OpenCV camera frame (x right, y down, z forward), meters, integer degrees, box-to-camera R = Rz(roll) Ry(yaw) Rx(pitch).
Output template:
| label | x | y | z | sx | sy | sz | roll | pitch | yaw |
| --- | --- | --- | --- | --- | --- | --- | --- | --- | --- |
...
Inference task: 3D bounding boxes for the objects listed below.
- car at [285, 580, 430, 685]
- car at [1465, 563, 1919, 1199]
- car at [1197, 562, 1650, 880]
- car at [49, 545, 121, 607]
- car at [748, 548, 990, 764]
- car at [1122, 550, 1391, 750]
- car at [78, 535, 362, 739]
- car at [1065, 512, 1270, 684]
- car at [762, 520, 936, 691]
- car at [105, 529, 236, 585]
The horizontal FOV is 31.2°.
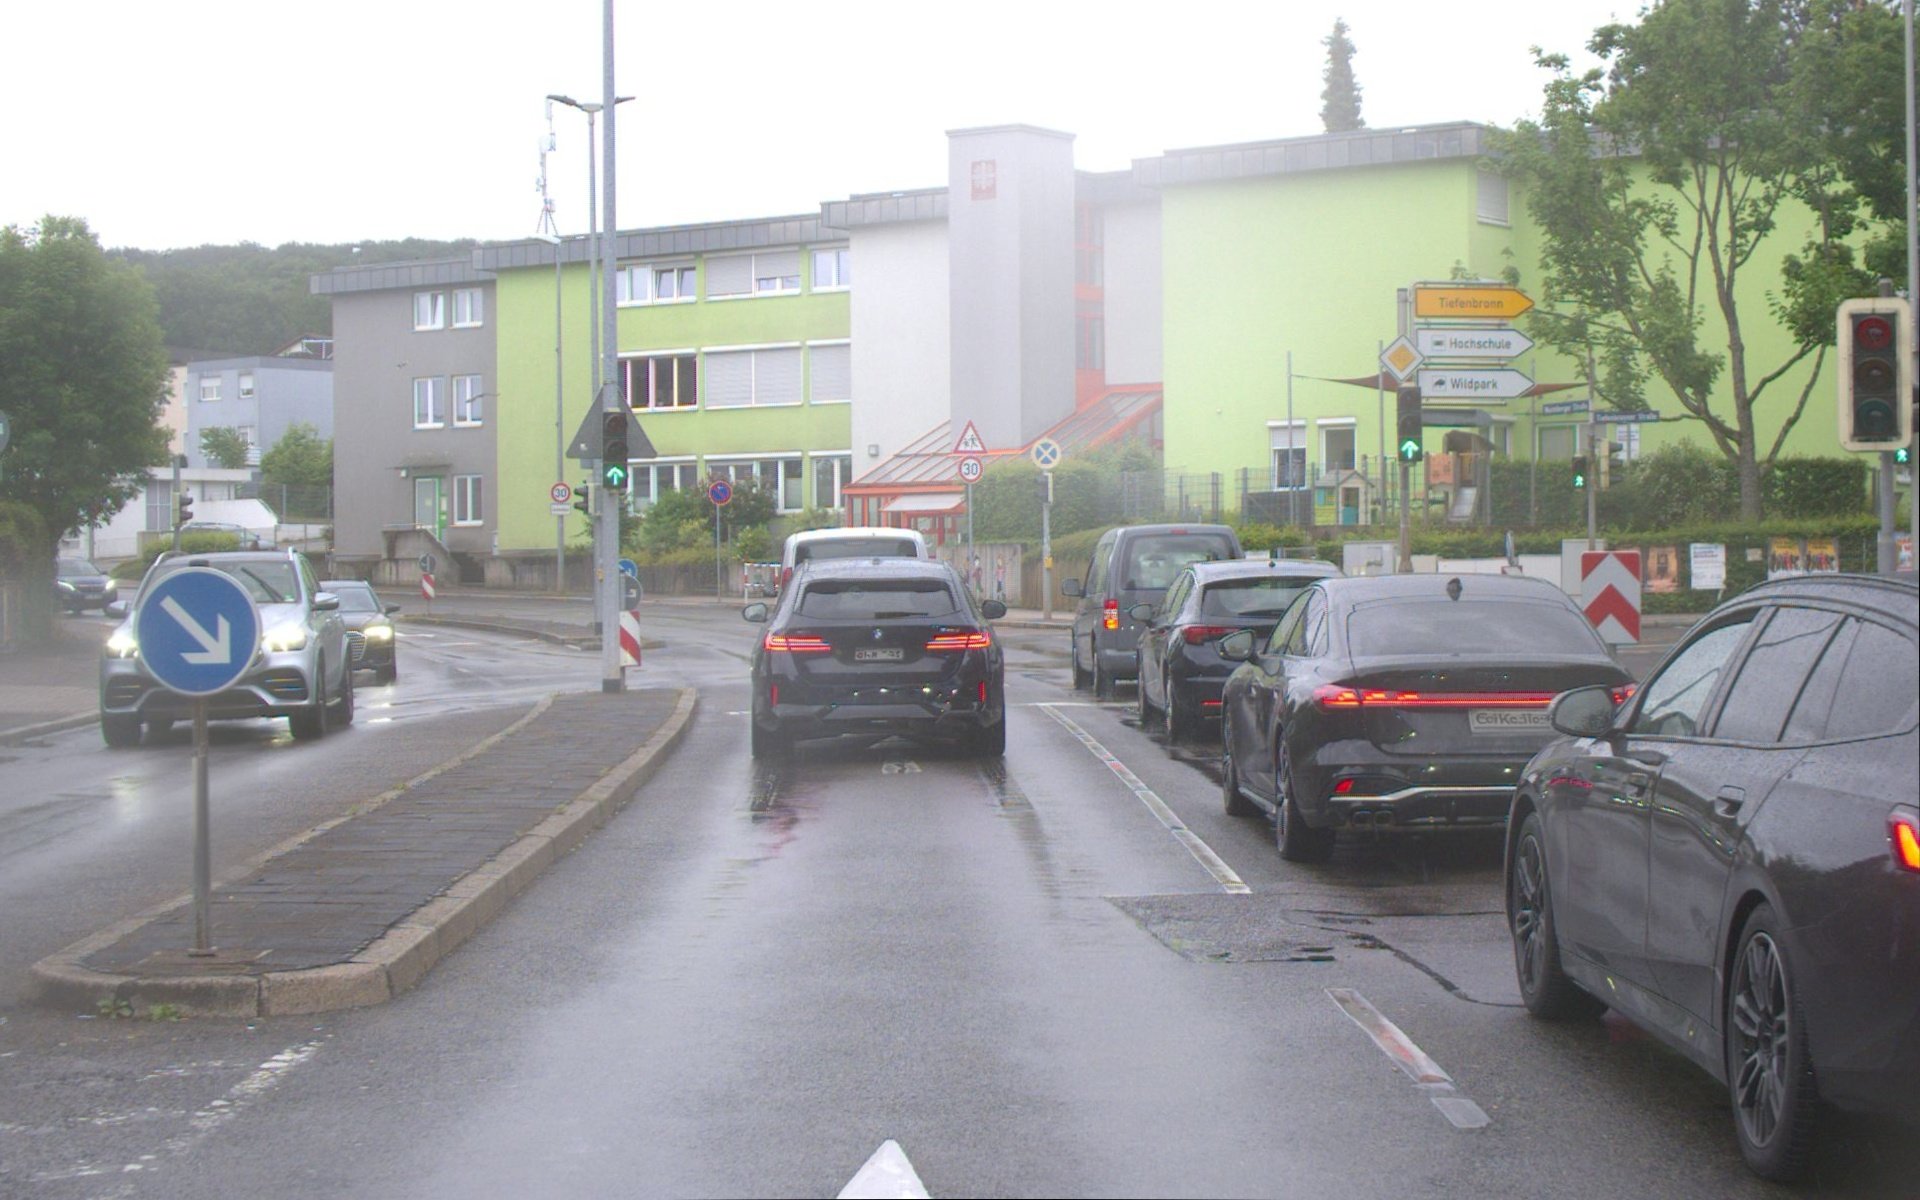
| label | x | y | z | sx | sy | sz | roll | pitch | yaw |
| --- | --- | --- | --- | --- | --- | --- | --- | --- | --- |
| car | -9.035 | 0.448 | 51.830 | 1.737 | 1.432 | 4.558 | -2 | 1 | -5 |
| car | 2.788 | 0.653 | 9.661 | 1.905 | 1.453 | 4.778 | -1 | 1 | -1 |
| car | 2.330 | 0.541 | 18.366 | 1.706 | 1.422 | 4.509 | -1 | 1 | -1 |
| car | -24.594 | -0.684 | 96.591 | 1.849 | 1.559 | 4.002 | -2 | 3 | -15 |
| car | -0.769 | 0.375 | 26.613 | 1.682 | 1.501 | 3.774 | -2 | 1 | -4 |
| car | 2.401 | 0.359 | 28.753 | 1.850 | 1.481 | 4.087 | -2 | 1 | 0 |
| car | -6.942 | 0.285 | 32.701 | 2.041 | 1.710 | 4.482 | -2 | 2 | -5 |
| car | 2.212 | -0.066 | 37.631 | 1.783 | 1.728 | 4.087 | -2 | 1 | -2 |
| car | -1.331 | 0.008 | 39.759 | 1.716 | 1.838 | 4.087 | -1 | 1 | -5 |
| car | -28.617 | -1.556 | 124.547 | 4.394 | 1.766 | 2.001 | -3 | 1 | -18 |
